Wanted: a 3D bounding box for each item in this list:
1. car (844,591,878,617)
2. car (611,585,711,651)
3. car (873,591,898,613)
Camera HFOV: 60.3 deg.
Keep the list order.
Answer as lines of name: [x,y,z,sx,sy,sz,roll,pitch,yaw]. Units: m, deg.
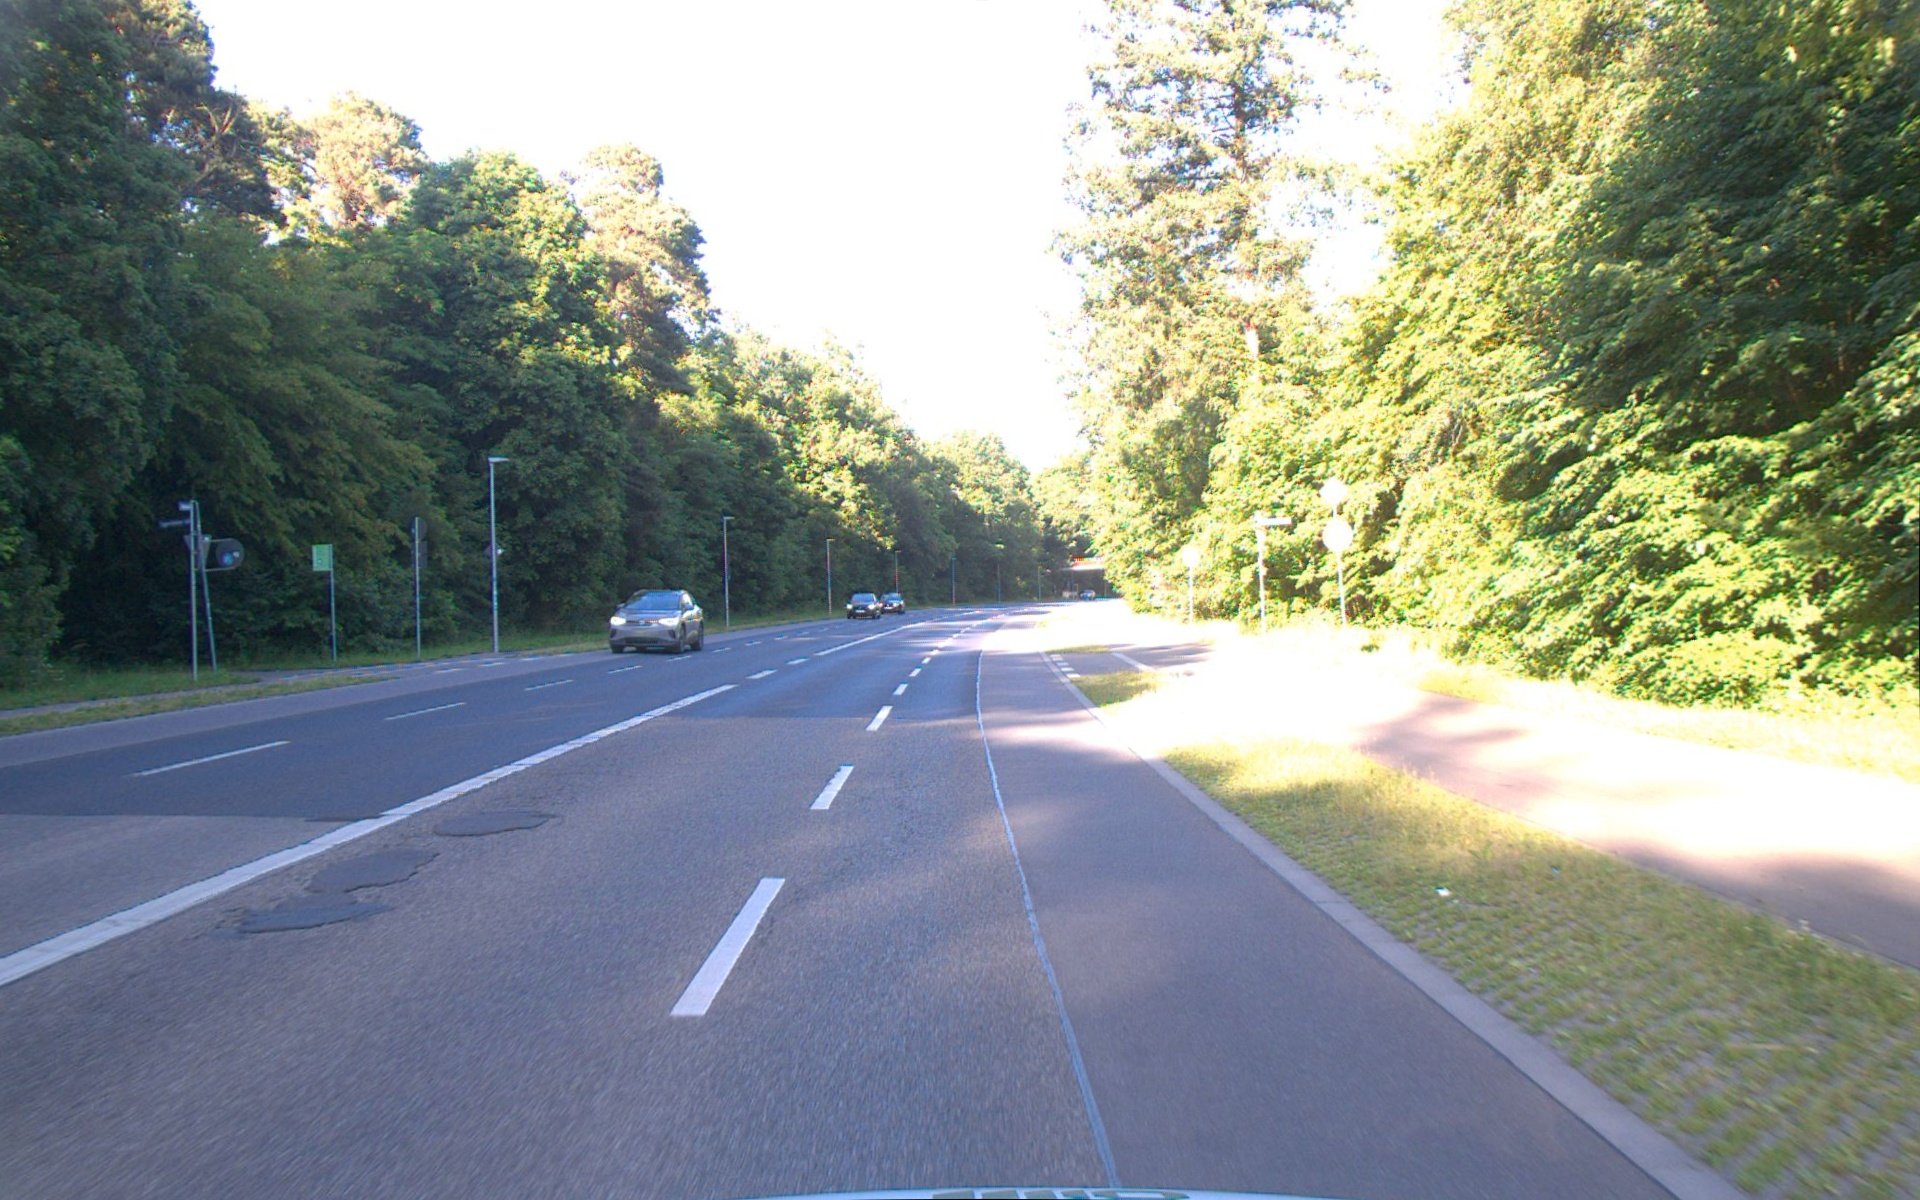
car: [-5.819,0.222,97.478,1.703,1.483,3.999,1,0,0]
car: [-7.900,0.441,44.092,1.857,1.639,4.449,1,0,0]
car: [-5.214,0.101,116.152,1.623,1.506,4.172,0,0,0]
